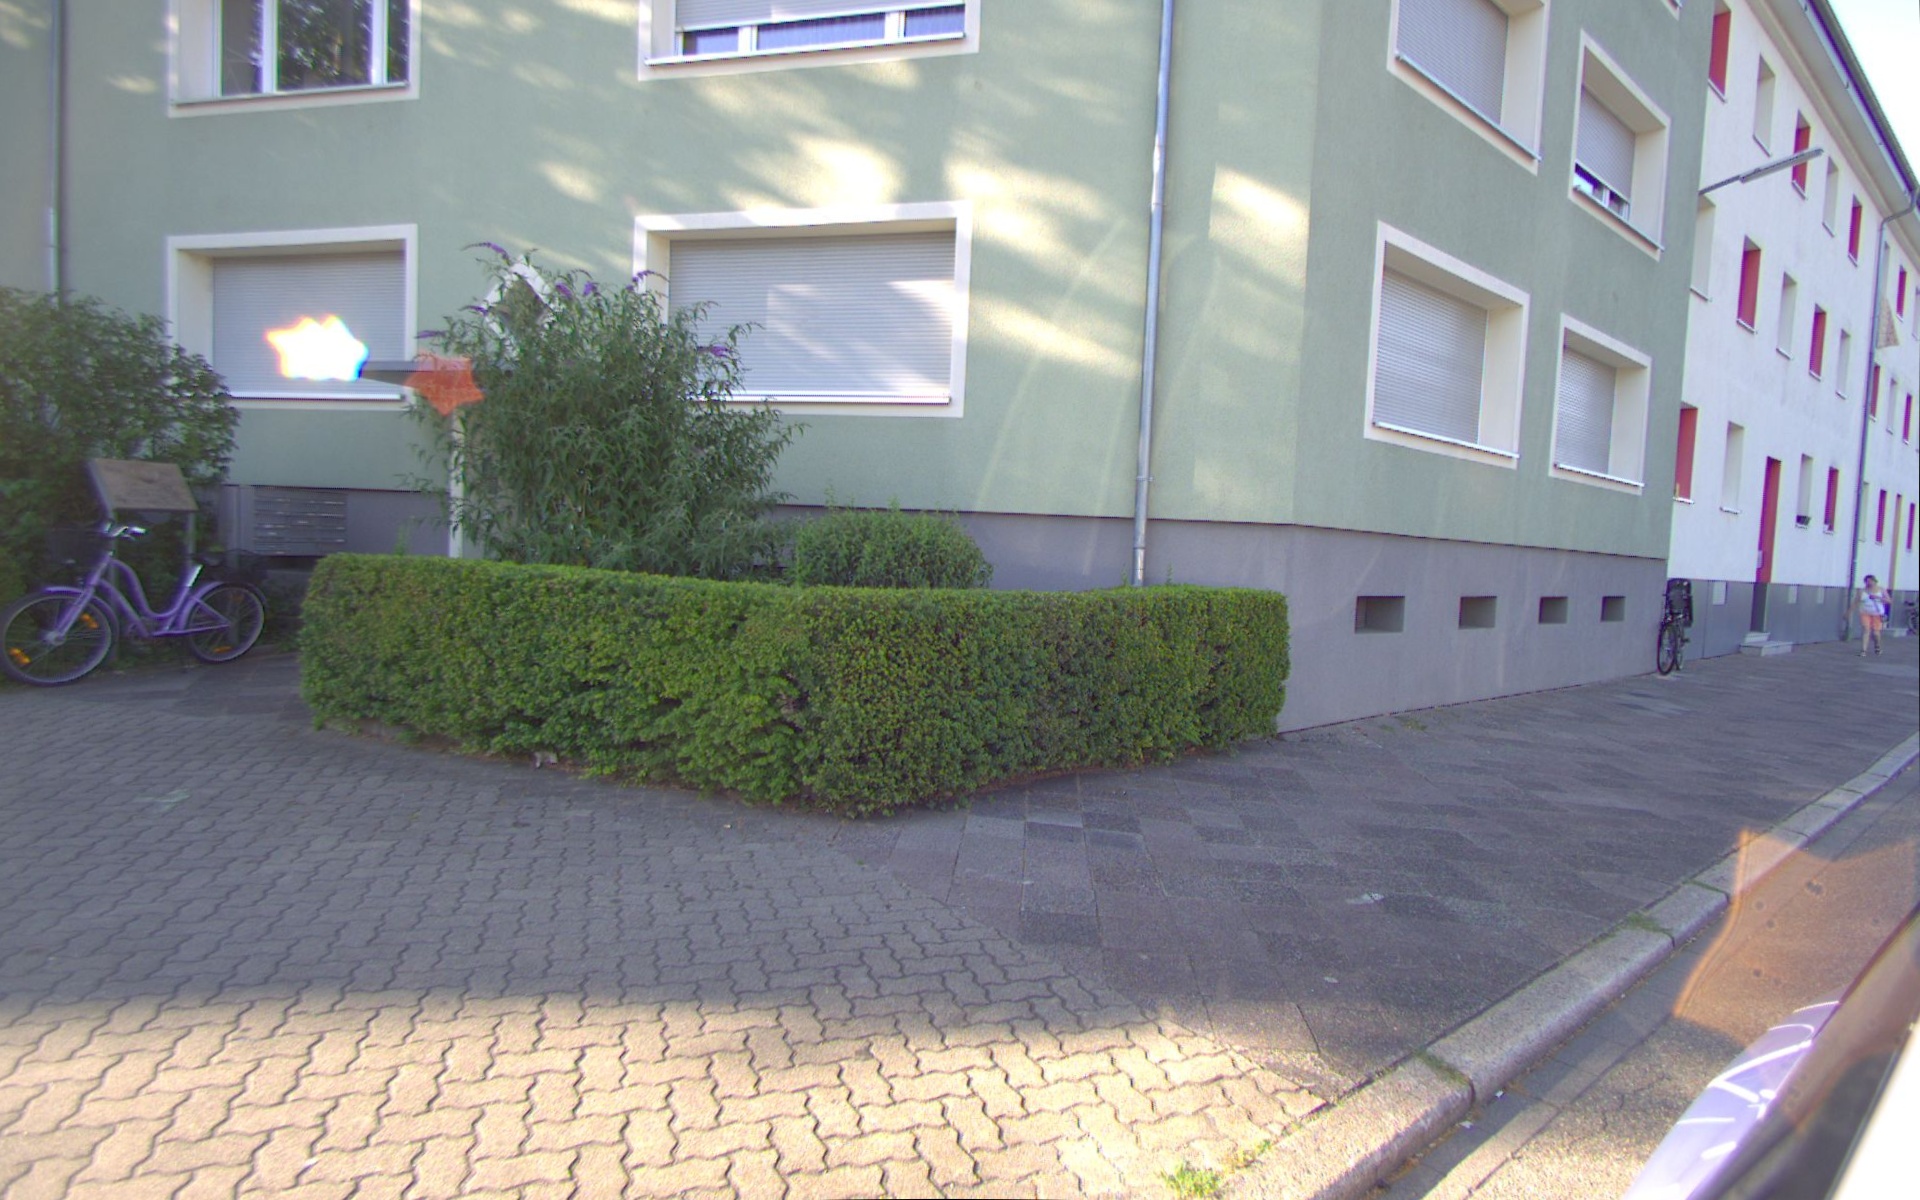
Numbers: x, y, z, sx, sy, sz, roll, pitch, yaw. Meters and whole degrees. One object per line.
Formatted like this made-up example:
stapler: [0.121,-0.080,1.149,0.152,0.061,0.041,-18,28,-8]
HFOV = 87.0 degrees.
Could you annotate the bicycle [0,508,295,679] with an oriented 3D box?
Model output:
bicycle: [-5.906,-0.088,7.290,0.515,1.069,1.920,3,3,22]

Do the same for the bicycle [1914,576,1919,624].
bicycle: [29.434,0.006,30.741,1.843,1.429,0.517,-1,4,-44]

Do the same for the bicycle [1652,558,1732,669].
bicycle: [10.136,0.156,13.992,1.843,1.429,0.517,-1,4,-44]

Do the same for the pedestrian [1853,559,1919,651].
pedestrian: [18.306,0.077,19.967,0.933,1.727,0.787,0,4,-41]
